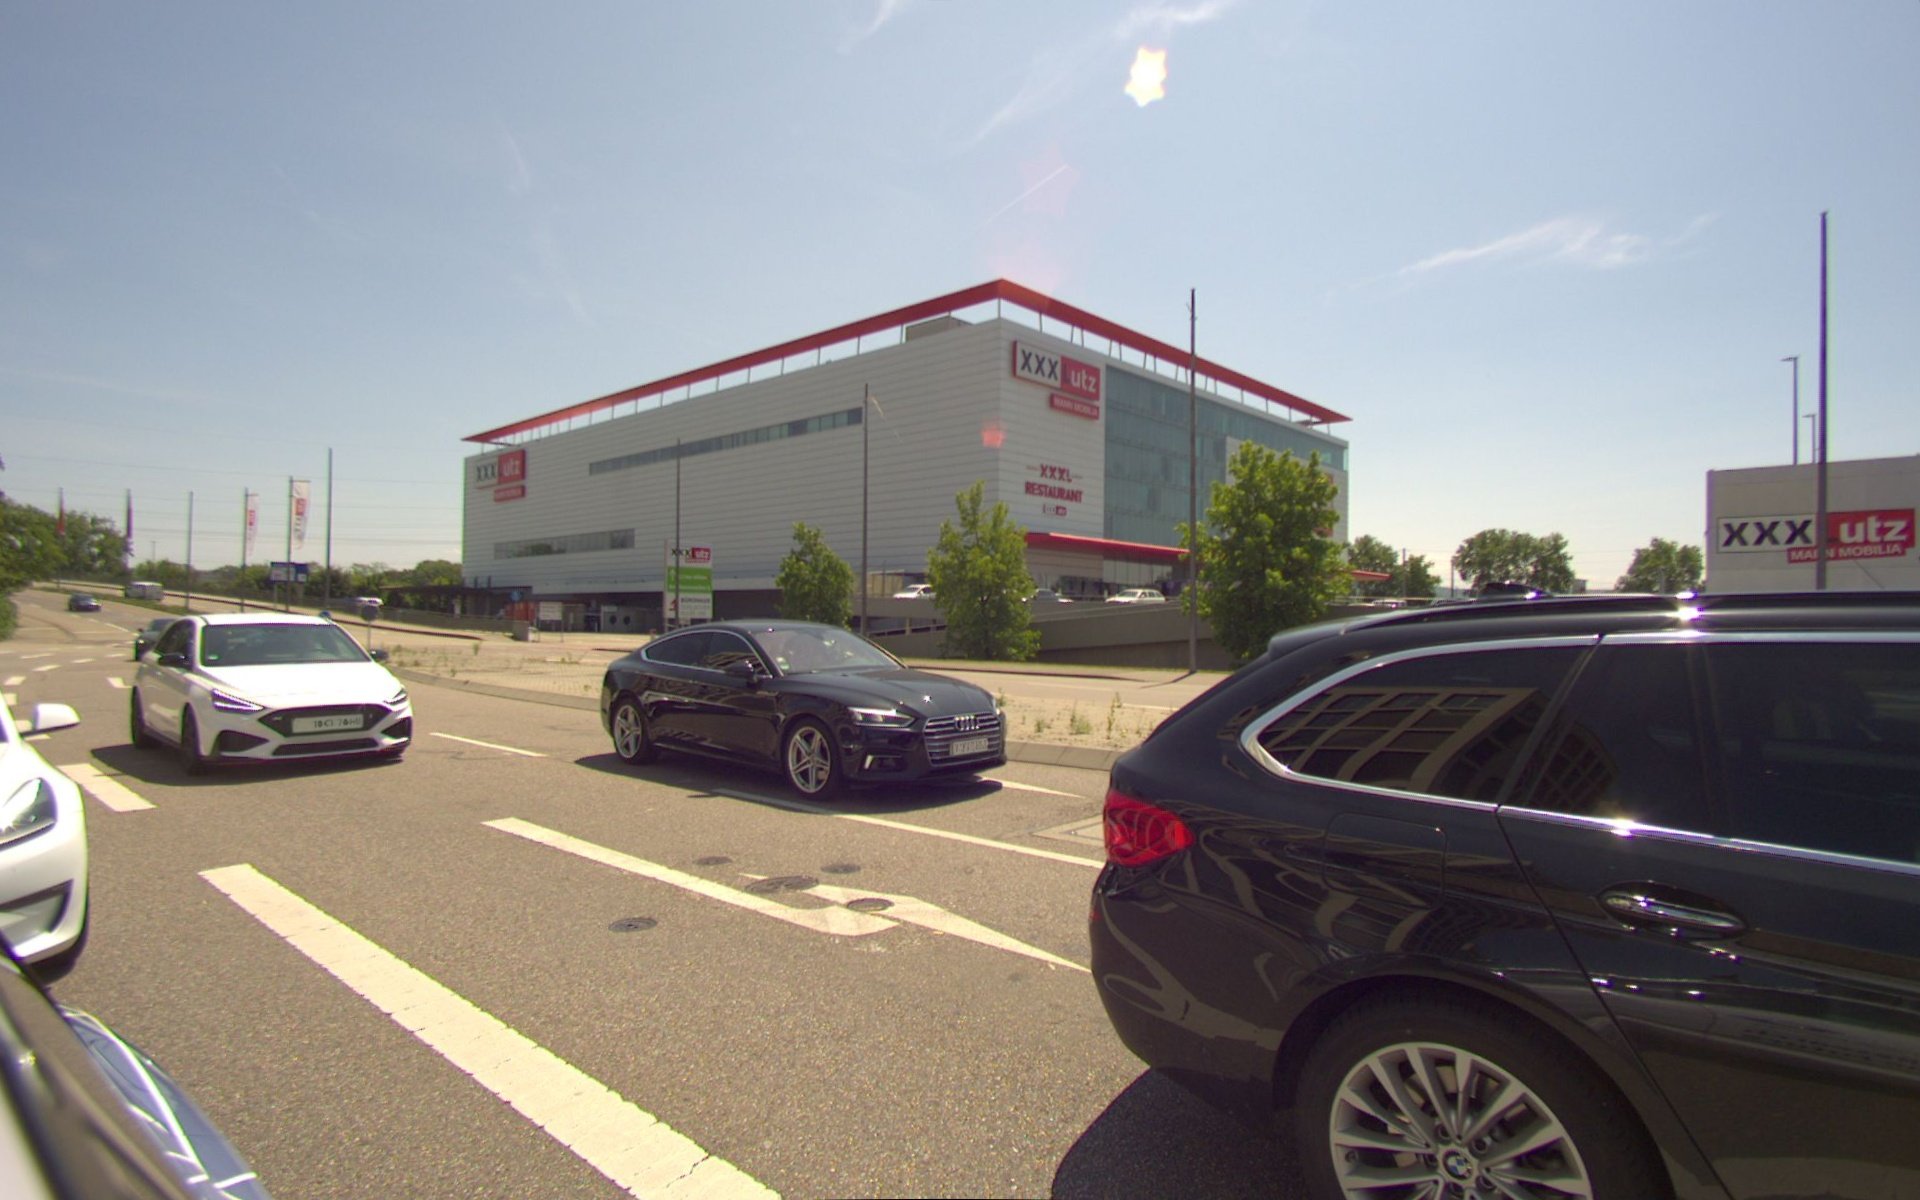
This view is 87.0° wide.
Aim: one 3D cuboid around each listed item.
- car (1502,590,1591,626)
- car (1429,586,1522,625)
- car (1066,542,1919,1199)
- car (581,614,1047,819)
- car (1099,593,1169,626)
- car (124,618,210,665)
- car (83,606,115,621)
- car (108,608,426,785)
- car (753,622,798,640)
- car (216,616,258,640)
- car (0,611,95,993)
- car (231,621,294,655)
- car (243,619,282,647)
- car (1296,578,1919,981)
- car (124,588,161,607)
[{"bbox_3d":[32.389,0.470,55.893,3.996,1.923,1.974,-1,-2,39],"label":"car"},{"bbox_3d":[26.877,0.322,52.797,3.998,1.946,1.973,-1,-2,41],"label":"car"},{"bbox_3d":[2.594,0.642,1.689,4.620,1.477,1.781,-1,-1,40],"label":"car"},{"bbox_3d":[-1.532,0.859,9.148,4.533,1.401,1.729,-2,-2,43],"label":"car"},{"bbox_3d":[9.929,0.574,57.561,2.001,1.781,4.140,0,-2,44],"label":"car"},{"bbox_3d":[-25.909,1.323,33.008,1.776,1.388,4.410,3,-3,-43],"label":"car"},{"bbox_3d":[-76.952,1.222,90.422,3.347,1.198,1.458,1,2,37],"label":"car"},{"bbox_3d":[-7.245,0.839,10.413,4.228,1.461,1.712,-1,-1,41],"label":"car"},{"bbox_3d":[-16.955,2.853,93.248,1.911,1.632,3.698,0,-2,41],"label":"car"},{"bbox_3d":[-50.732,1.952,71.016,1.811,1.674,4.003,2,-2,-44],"label":"car"},{"bbox_3d":[-5.735,0.800,4.706,4.401,1.436,1.857,-1,-1,39],"label":"car"},{"bbox_3d":[-30.278,1.623,43.880,1.775,1.424,4.412,2,-2,-41],"label":"car"},{"bbox_3d":[-40.400,1.891,58.591,1.653,1.587,4.066,1,-1,-37],"label":"car"},{"bbox_3d":[3.837,0.681,4.700,3.991,1.505,1.782,-1,-1,36],"label":"car"},{"bbox_3d":[-86.775,-0.256,107.391,4.830,1.864,1.814,-1,-2,36],"label":"car"}]
